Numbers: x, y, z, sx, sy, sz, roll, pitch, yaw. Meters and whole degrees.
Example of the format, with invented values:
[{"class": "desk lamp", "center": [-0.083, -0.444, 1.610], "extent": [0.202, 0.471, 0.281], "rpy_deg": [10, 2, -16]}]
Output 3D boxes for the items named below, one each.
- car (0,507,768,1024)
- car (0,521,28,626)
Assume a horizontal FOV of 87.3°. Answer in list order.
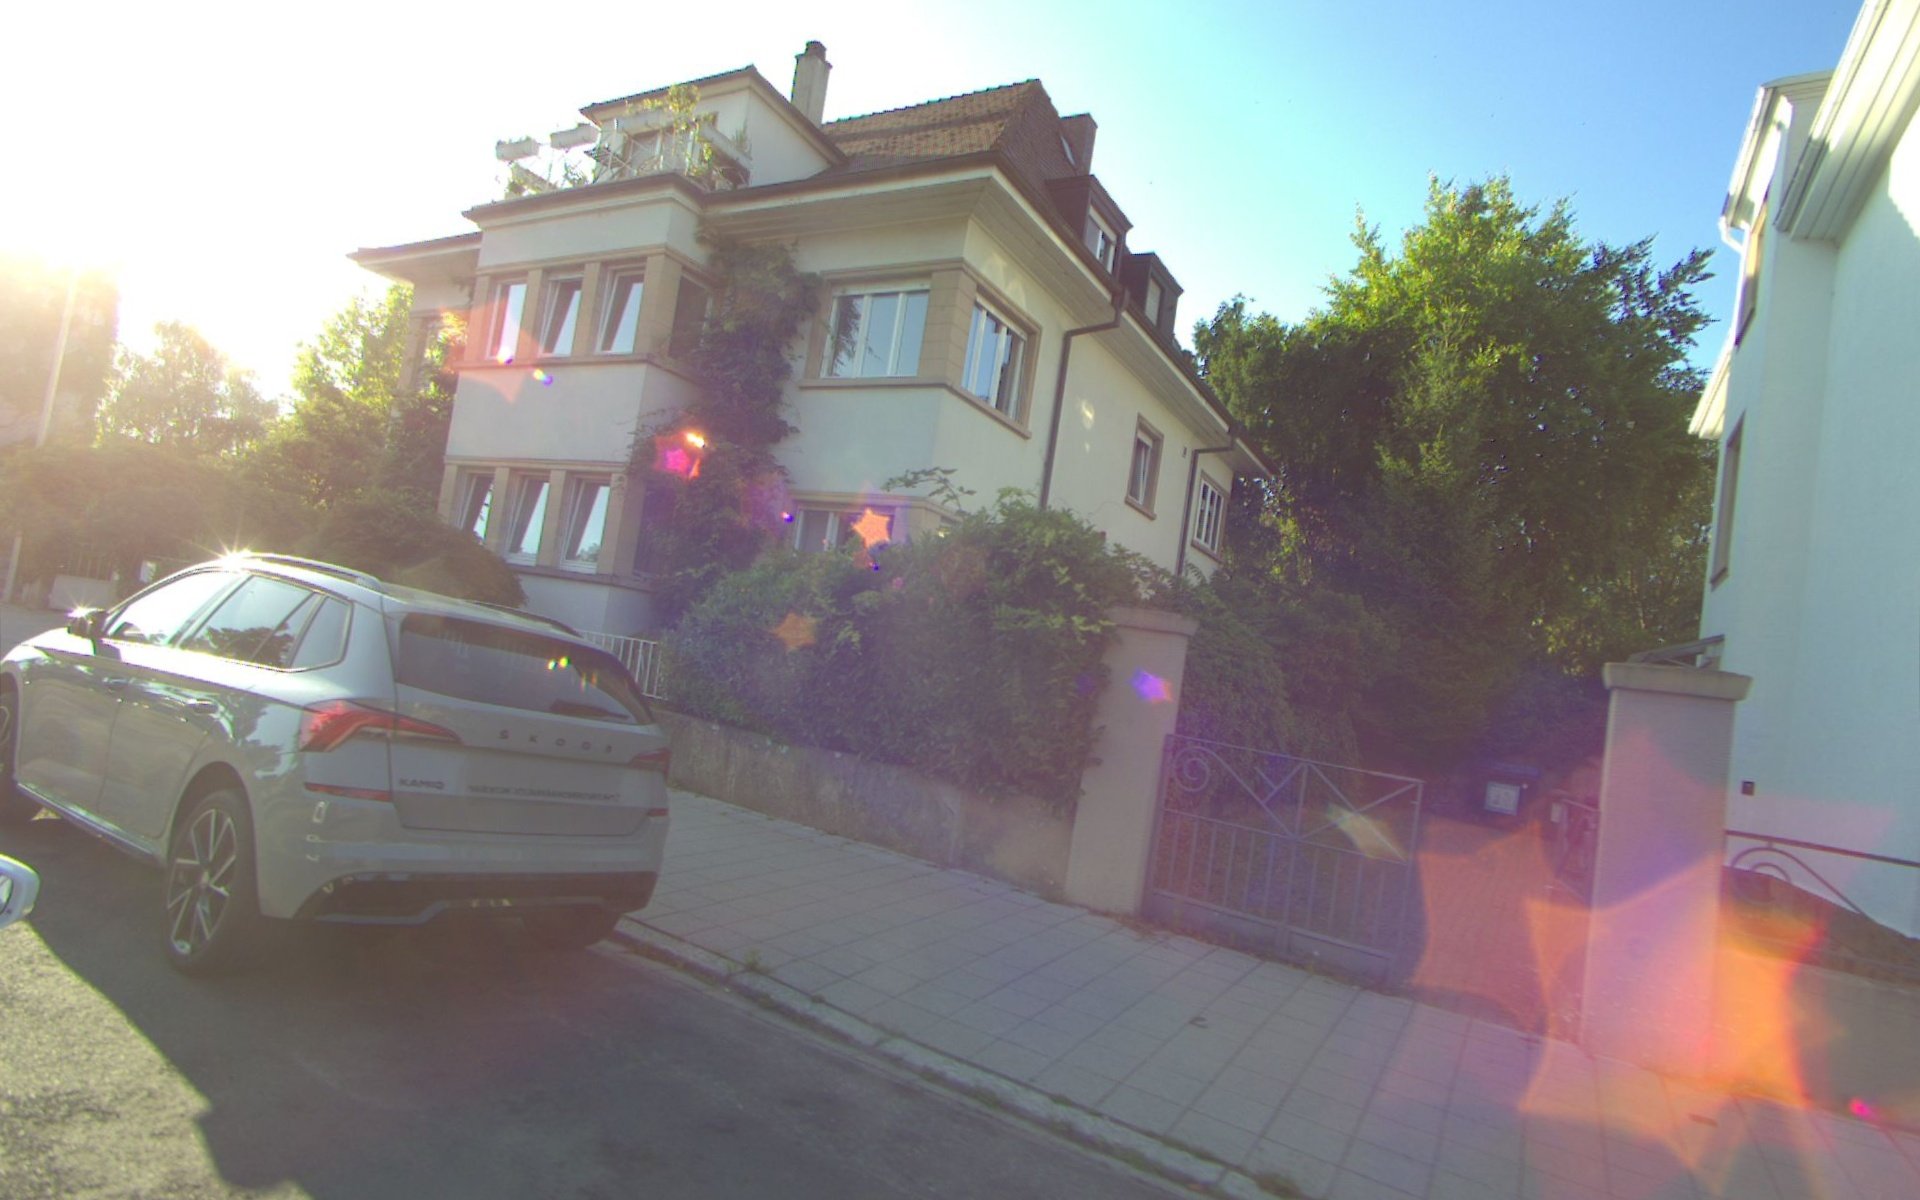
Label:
[{"class": "car", "center": [-3.356, 0.575, 5.167], "extent": [4.390, 1.550, 1.892], "rpy_deg": [5, -8, 33]}, {"class": "car", "center": [-12.365, -0.379, 10.745], "extent": [4.804, 1.610, 2.005], "rpy_deg": [6, -9, 31]}]
